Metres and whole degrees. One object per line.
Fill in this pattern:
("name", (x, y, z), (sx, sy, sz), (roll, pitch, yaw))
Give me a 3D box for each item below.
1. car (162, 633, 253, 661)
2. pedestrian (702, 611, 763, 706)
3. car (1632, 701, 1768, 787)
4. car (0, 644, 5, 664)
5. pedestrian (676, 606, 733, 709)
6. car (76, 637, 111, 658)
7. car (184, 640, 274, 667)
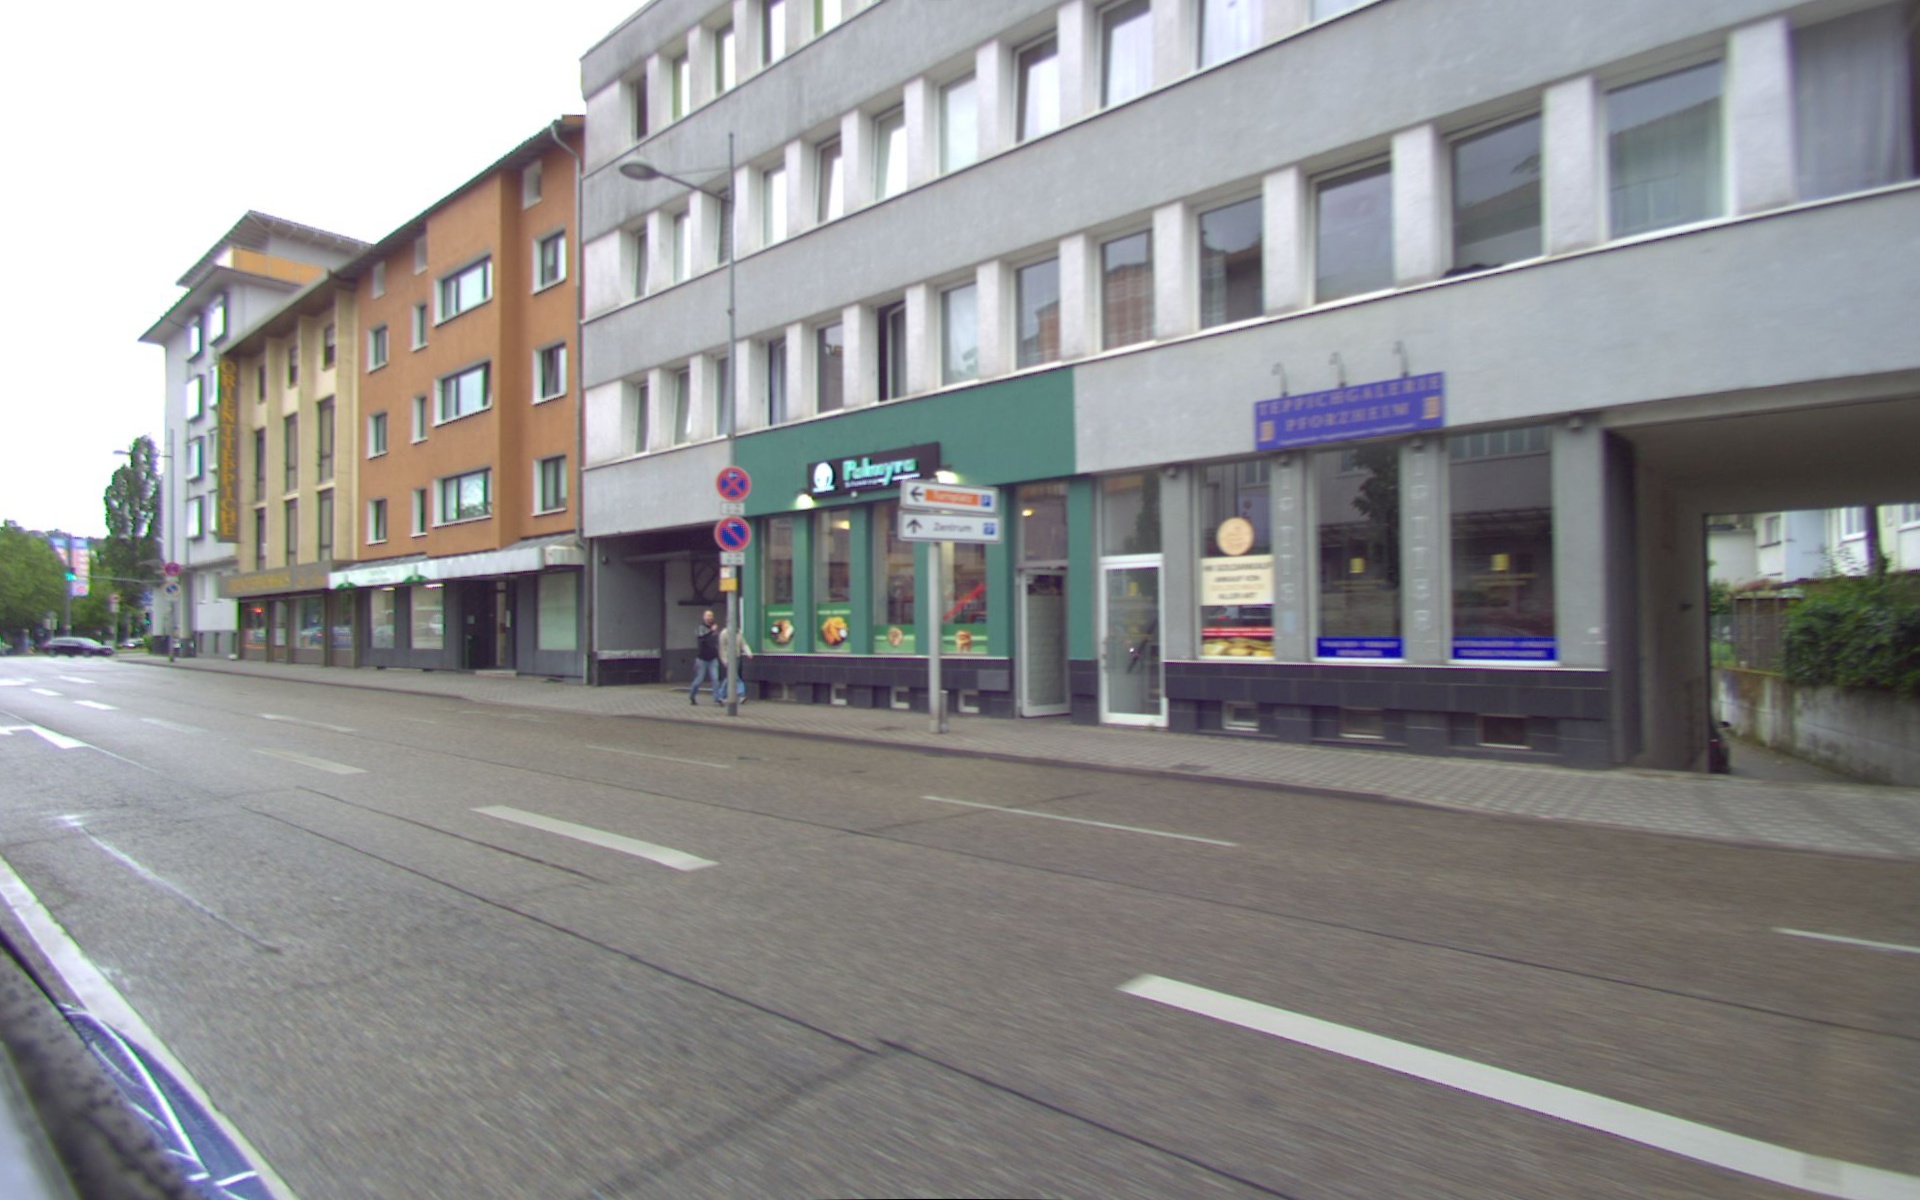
("car", (-42.678, 2.691, 57.438), (1.797, 1.431, 3.772), (0, -4, 41))
("pedestrian", (-4.295, 1.086, 19.077), (0.907, 1.688, 0.624), (-2, 2, 40))
("car", (15.920, 3.004, 21.707), (1.877, 1.361, 3.943), (-3, -3, 43))
("car", (-76.594, 4.214, 79.393), (1.867, 1.588, 4.370), (3, -4, -37))
("pedestrian", (-4.697, 1.037, 18.605), (0.826, 1.801, 0.569), (-2, 2, 41))
("car", (-64.415, 3.532, 75.216), (1.778, 1.445, 4.401), (0, -2, -43))
("car", (-39.000, 2.875, 54.031), (1.494, 1.348, 3.587), (-2, -5, 39))
